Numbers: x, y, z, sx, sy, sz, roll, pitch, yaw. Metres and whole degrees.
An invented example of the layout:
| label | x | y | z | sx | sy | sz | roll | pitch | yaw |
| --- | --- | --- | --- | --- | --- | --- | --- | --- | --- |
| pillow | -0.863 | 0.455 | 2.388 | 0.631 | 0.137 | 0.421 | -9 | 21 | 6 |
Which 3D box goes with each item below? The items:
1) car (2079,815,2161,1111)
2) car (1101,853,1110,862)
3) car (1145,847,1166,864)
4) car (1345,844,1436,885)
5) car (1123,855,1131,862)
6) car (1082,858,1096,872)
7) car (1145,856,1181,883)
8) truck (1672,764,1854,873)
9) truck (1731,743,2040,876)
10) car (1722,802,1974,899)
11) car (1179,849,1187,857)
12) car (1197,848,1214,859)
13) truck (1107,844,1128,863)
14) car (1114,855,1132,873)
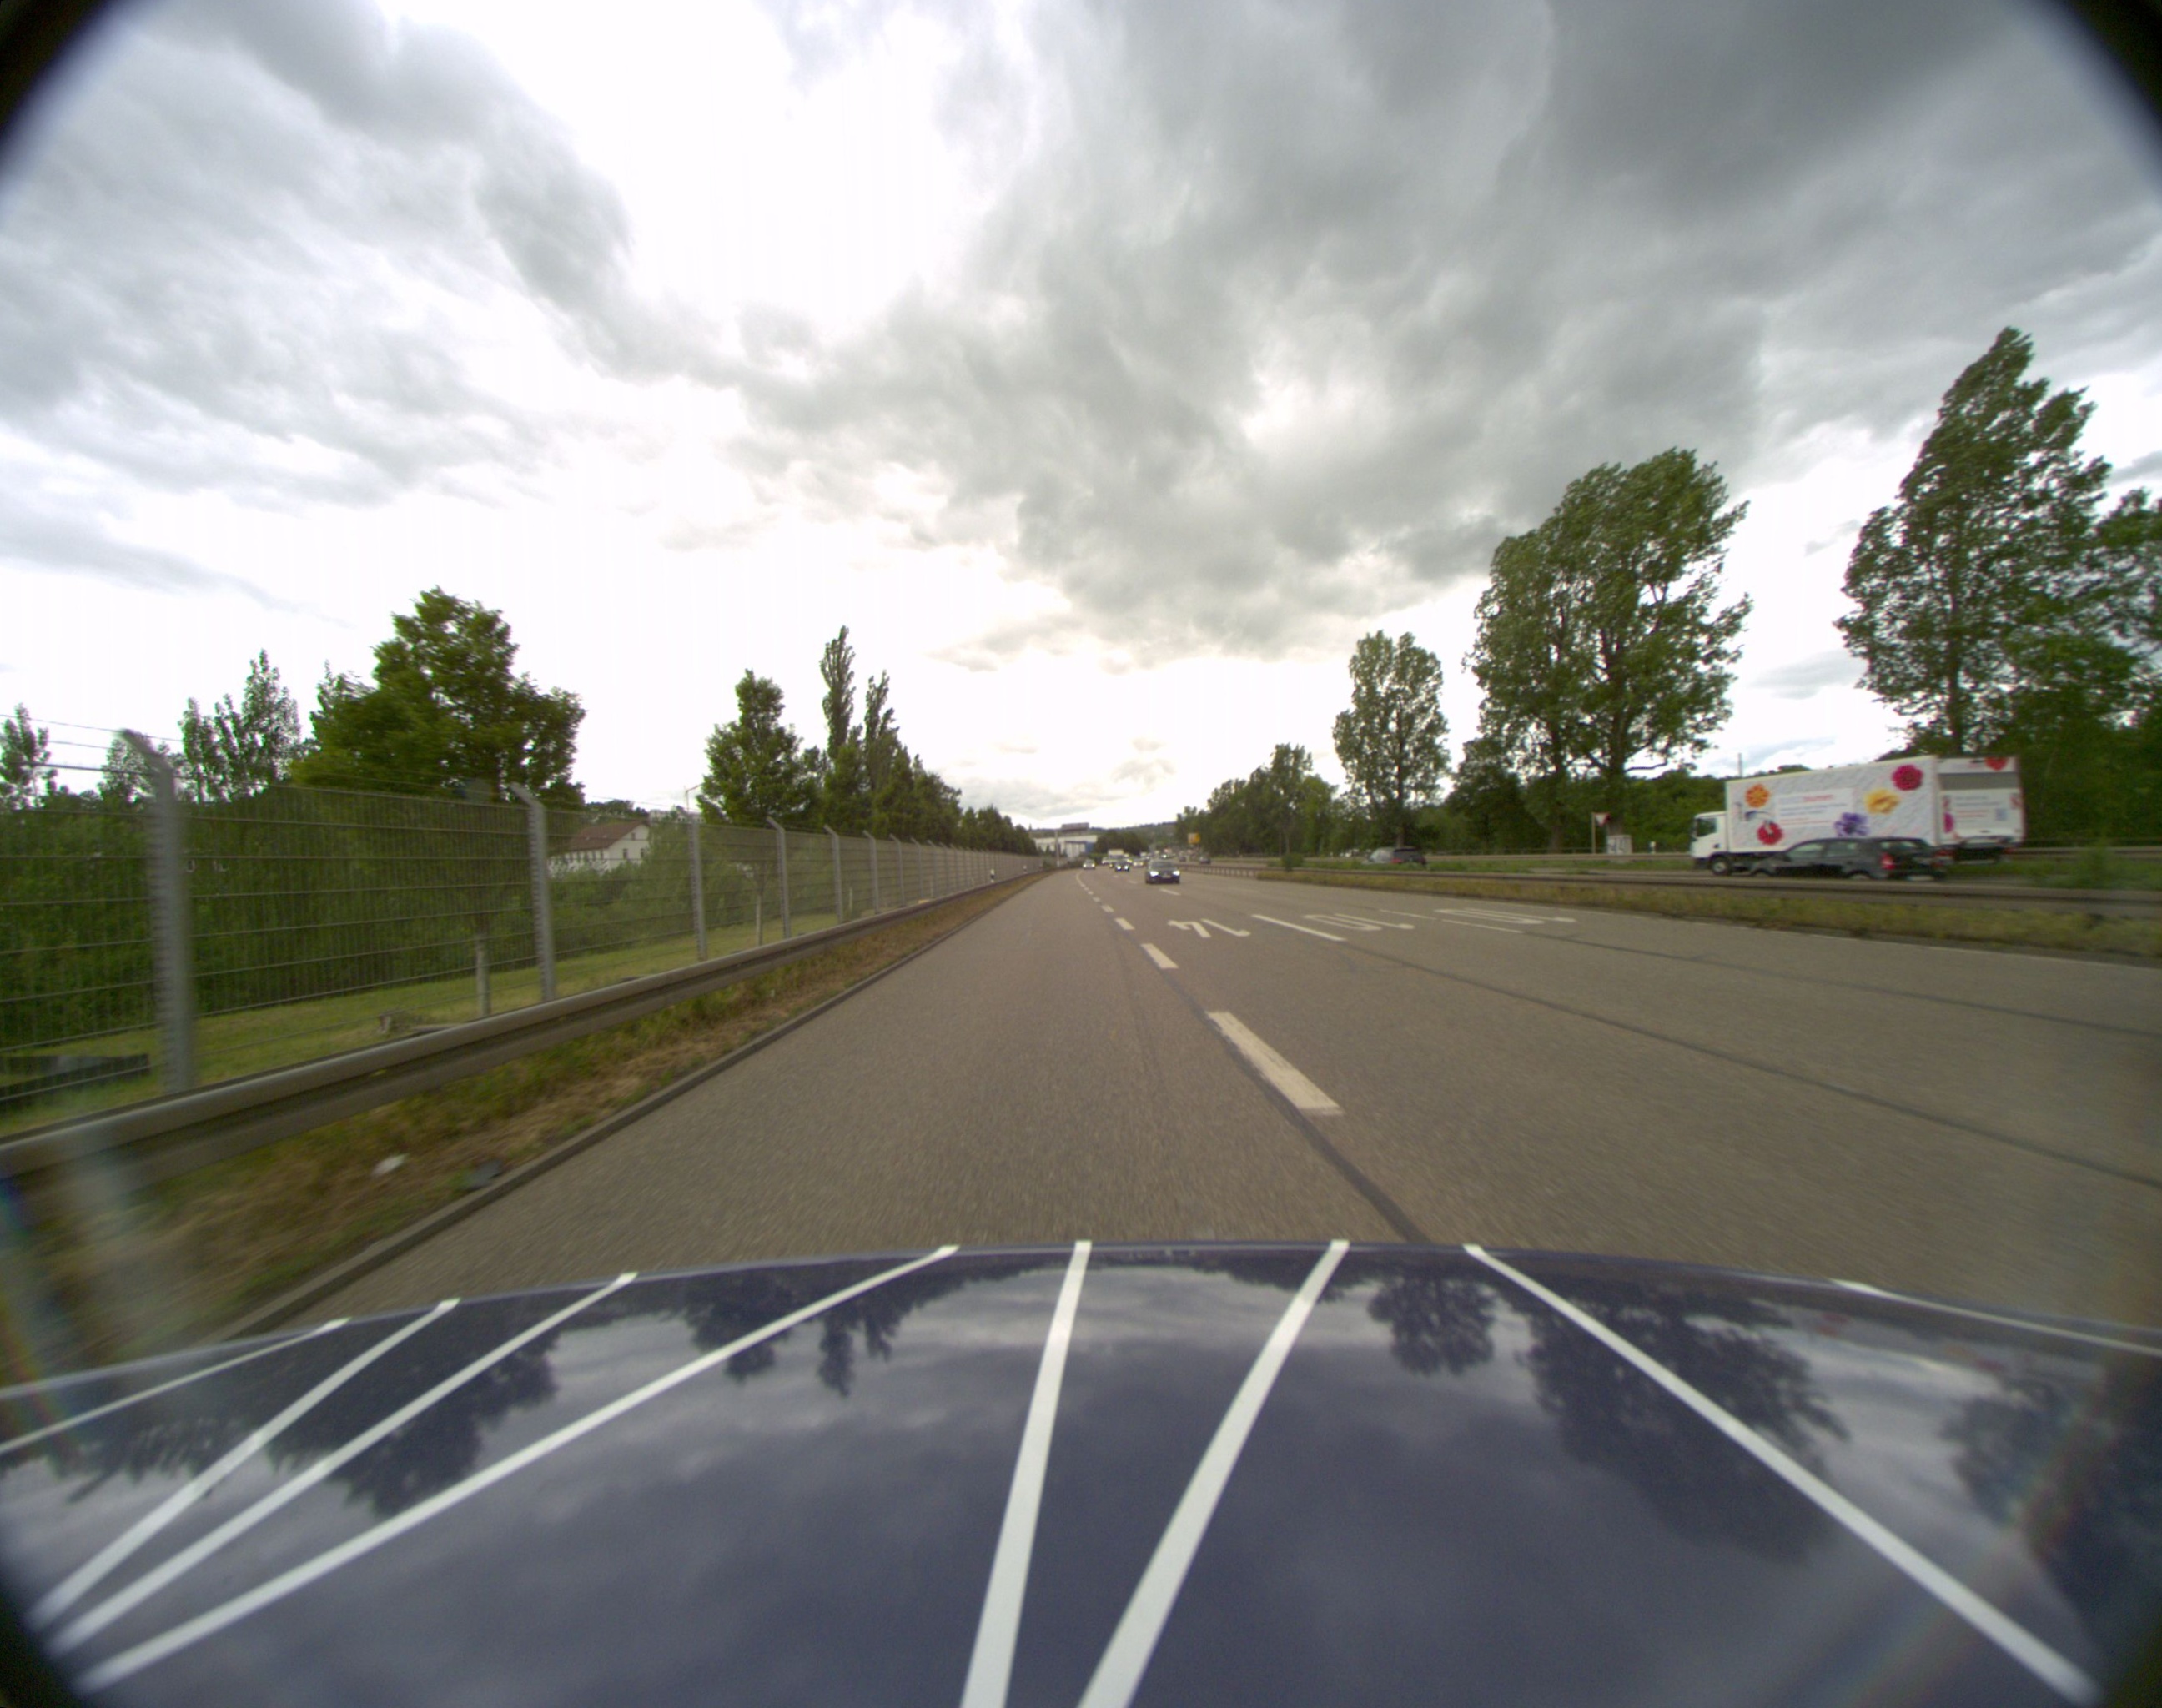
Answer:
| label | x | y | z | sx | sy | sz | roll | pitch | yaw |
| --- | --- | --- | --- | --- | --- | --- | --- | --- | --- |
| car | 7.109 | 0.614 | 2.770 | 1.685 | 1.726 | 3.998 | -2 | 0 | 0 |
| car | 5.922 | 0.838 | 184.129 | 1.998 | 2.002 | 4.000 | -2 | 0 | 1 |
| car | 8.525 | 0.149 | 87.335 | 1.878 | 1.853 | 3.999 | -2 | 0 | -1 |
| car | 14.859 | 0.474 | 36.918 | 1.851 | 1.720 | 5.524 | -5 | 0 | -2 |
| car | 12.561 | 1.293 | 206.452 | 1.998 | 1.776 | 4.000 | -2 | 0 | 1 |
| car | 1.345 | 1.818 | 126.336 | 1.998 | 2.002 | 4.001 | -5 | 0 | 4 |
| car | 4.890 | 0.885 | 45.999 | 1.939 | 1.492 | 4.305 | -2 | 0 | 4 |
| truck | 25.570 | -1.252 | 28.727 | 2.993 | 3.621 | 3.998 | -5 | 0 | -5 |
| truck | 25.897 | -1.267 | 25.034 | 2.991 | 3.622 | 6.334 | -5 | 0 | -5 |
| car | 18.835 | -0.069 | 18.977 | 1.999 | 2.002 | 3.998 | -5 | 0 | -5 |
| car | 28.501 | -0.323 | 211.464 | 1.997 | 2.001 | 5.225 | -4 | -1 | 8 |
| car | 22.436 | -0.080 | 136.933 | 1.999 | 1.599 | 4.649 | -5 | 0 | -3 |
| truck | 6.291 | -0.120 | 131.703 | 3.040 | 3.141 | 7.566 | -2 | 1 | 0 |
| car | 5.121 | 1.225 | 92.439 | 1.998 | 2.001 | 4.001 | -4 | 0 | 4 |
